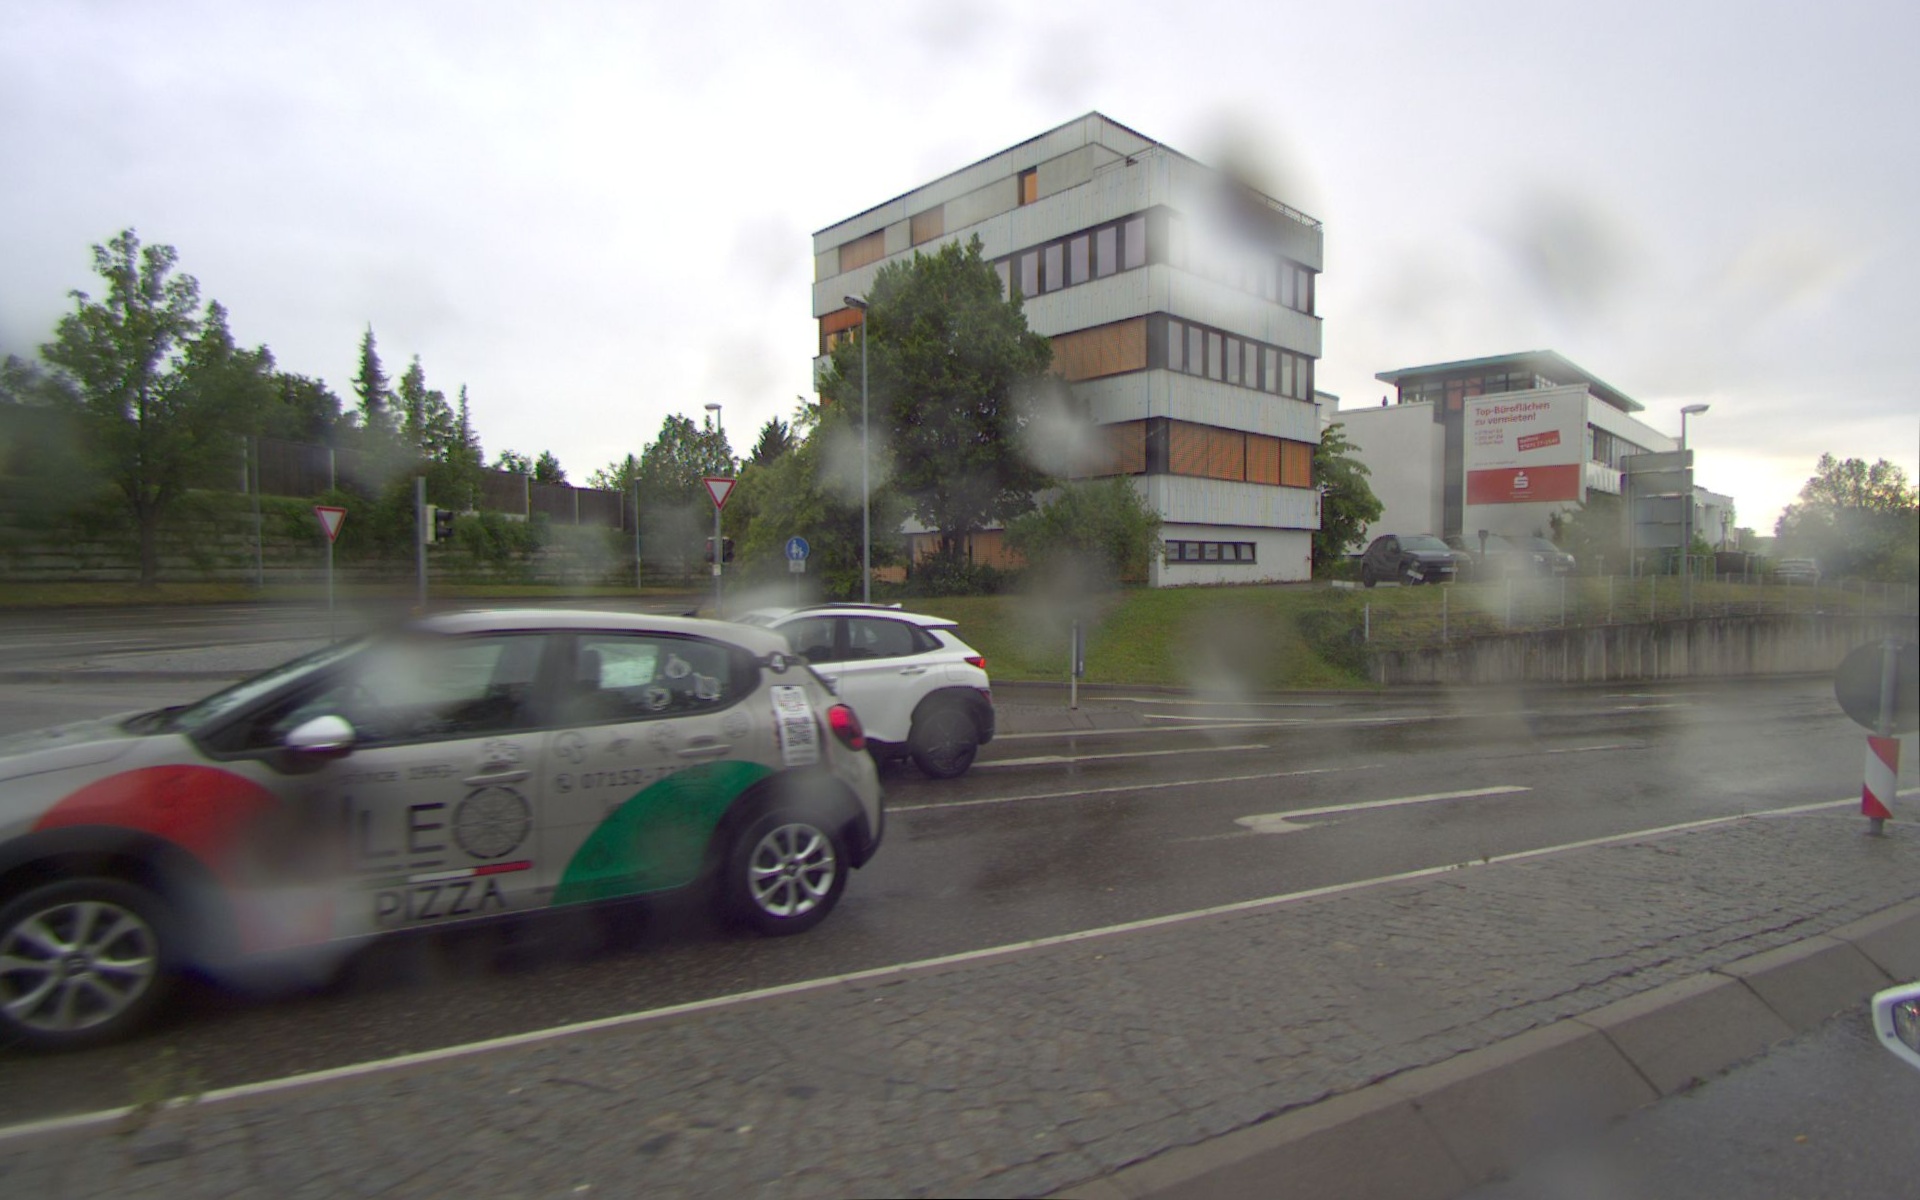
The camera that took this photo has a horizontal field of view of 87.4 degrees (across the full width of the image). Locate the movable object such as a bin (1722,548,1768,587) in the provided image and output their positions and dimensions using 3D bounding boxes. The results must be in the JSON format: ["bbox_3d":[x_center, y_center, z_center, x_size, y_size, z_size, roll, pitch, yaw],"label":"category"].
[{"bbox_3d":[31.143,-1.282,39.850,1.434,1.456,1.075,2,1,-39],"label":"movable object such as a bin"}]

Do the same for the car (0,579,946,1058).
[{"bbox_3d":[-2.193,0.712,4.638,3.953,1.514,1.653,1,0,-30],"label":"car"}]

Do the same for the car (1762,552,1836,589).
[{"bbox_3d":[38.321,-1.330,45.848,3.966,1.461,1.812,2,1,-39],"label":"car"}]

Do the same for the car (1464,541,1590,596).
[{"bbox_3d":[18.664,-1.009,33.298,1.865,1.607,4.000,3,1,1],"label":"car"}]

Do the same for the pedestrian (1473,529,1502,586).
[{"bbox_3d":[14.982,-1.203,28.531,0.493,1.571,0.520,1,0,-7],"label":"pedestrian"}]

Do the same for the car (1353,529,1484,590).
[{"bbox_3d":[13.572,-1.166,30.004,1.866,1.607,3.998,3,1,-3],"label":"car"}]

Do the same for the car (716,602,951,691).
[{"bbox_3d":[-2.276,0.817,18.615,3.919,1.475,1.906,1,0,9],"label":"car"}]

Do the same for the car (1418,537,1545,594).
[{"bbox_3d":[16.244,-1.037,31.548,1.865,1.607,4.000,3,1,1],"label":"car"}]

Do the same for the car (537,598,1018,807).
[{"bbox_3d":[-1.596,0.789,9.116,3.953,1.514,1.712,1,0,-30],"label":"car"}]

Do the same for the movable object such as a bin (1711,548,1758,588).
[{"bbox_3d":[29.998,-1.229,38.912,1.434,1.456,1.075,2,1,-39],"label":"movable object such as a bin"}]
